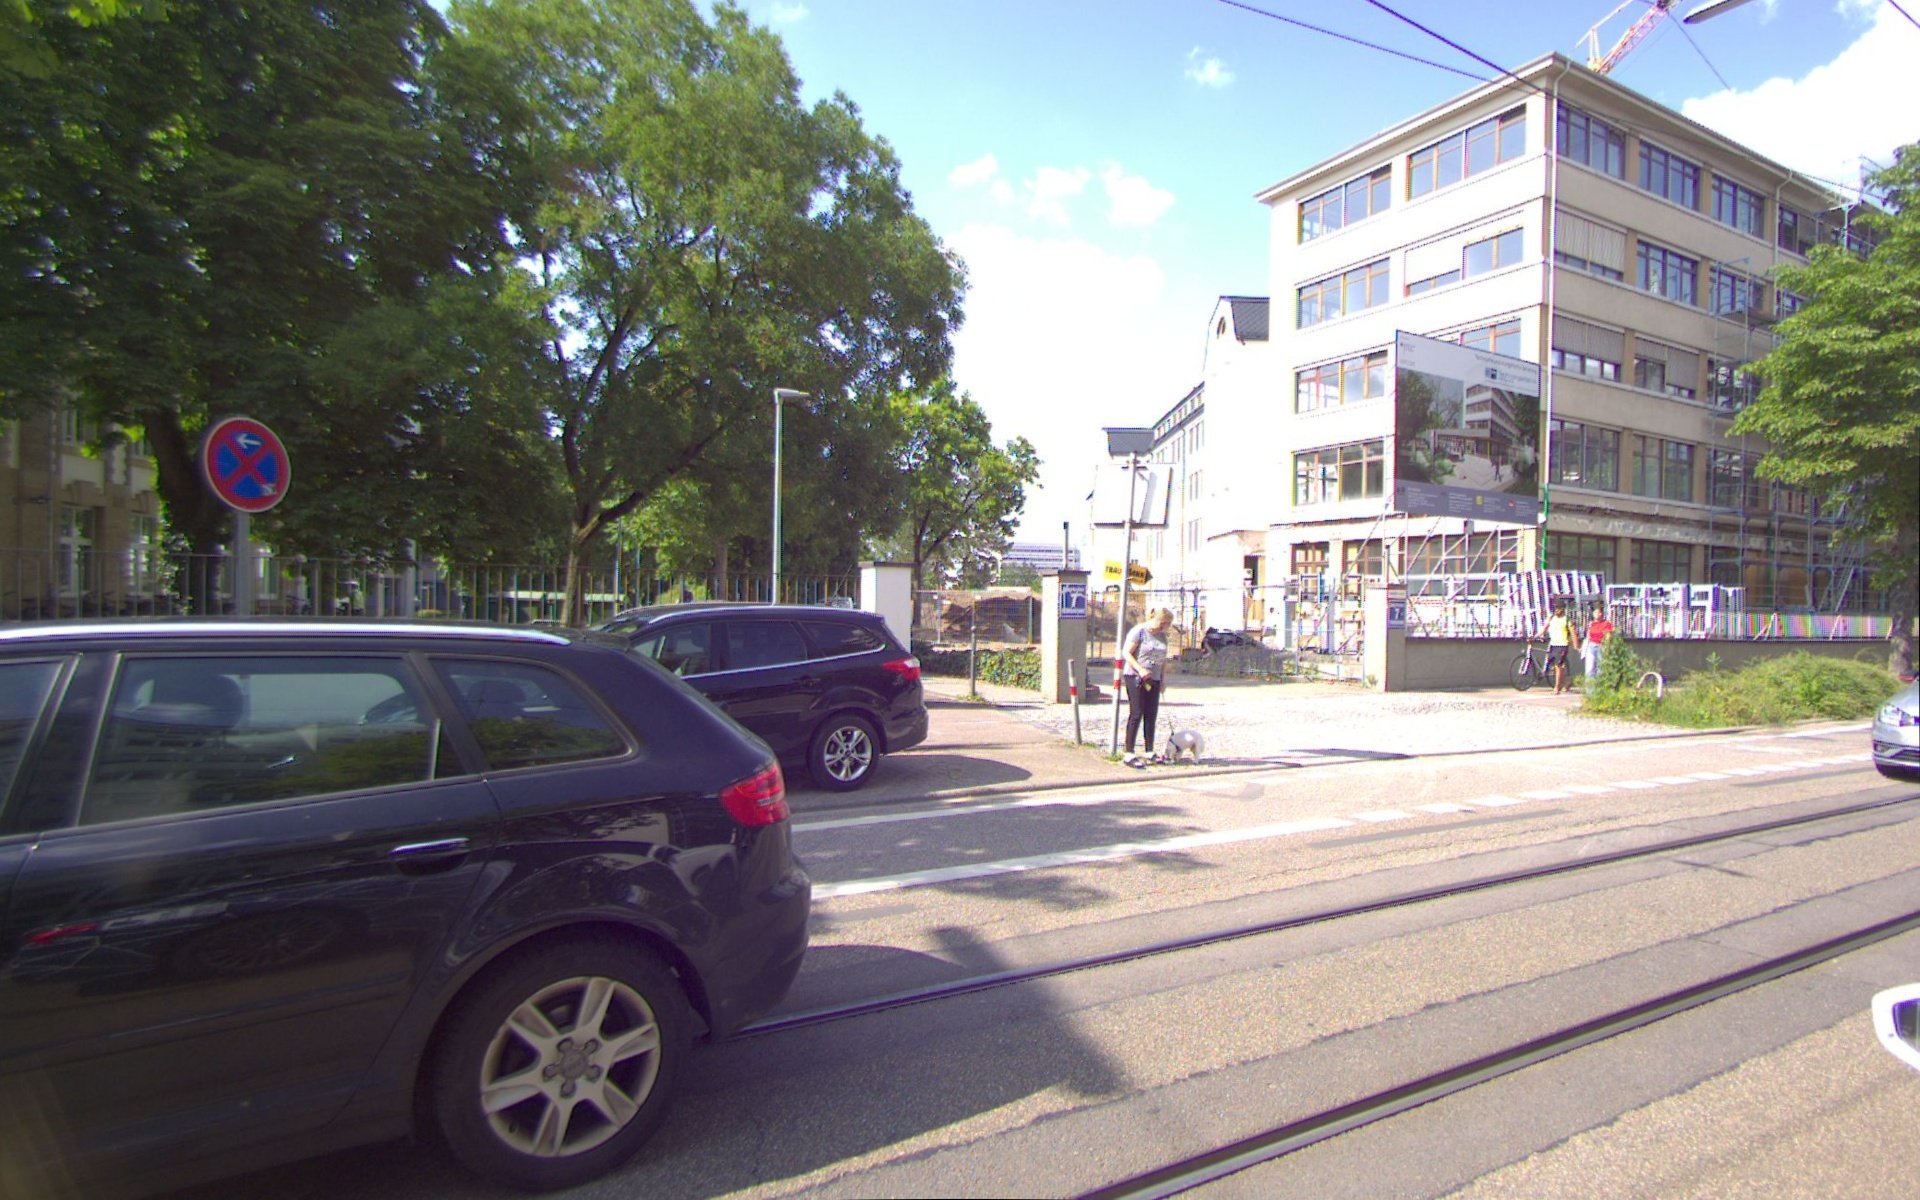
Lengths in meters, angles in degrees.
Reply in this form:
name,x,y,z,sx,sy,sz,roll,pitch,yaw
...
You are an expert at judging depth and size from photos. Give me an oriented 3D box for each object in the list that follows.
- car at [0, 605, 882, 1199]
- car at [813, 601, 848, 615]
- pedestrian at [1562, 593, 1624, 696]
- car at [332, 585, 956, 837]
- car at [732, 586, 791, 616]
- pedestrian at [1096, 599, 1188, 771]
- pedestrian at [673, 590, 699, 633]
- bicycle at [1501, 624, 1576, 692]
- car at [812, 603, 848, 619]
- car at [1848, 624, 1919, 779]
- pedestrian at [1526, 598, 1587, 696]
name,x,y,z,sx,sy,sz,roll,pitch,yaw
car,-2.353,0.732,2.653,3.954,1.394,1.714,2,-2,-31
car,-14.279,0.868,110.588,3.594,1.509,1.786,1,0,0
pedestrian,11.931,0.821,18.940,0.655,1.857,0.702,-1,4,-35
car,-2.420,0.727,8.184,4.543,1.536,1.739,1,1,-33
car,-14.031,0.095,71.255,3.925,2.040,1.998,1,0,-7
pedestrian,1.874,0.835,10.308,0.714,1.659,0.691,2,1,27
pedestrian,-10.527,0.446,38.640,0.751,1.642,0.594,1,0,9
bicycle,11.525,1.138,19.993,1.716,1.303,0.444,1,0,-28
car,-13.344,1.129,103.209,3.596,1.509,1.785,1,0,-3
car,10.735,0.980,9.996,3.807,1.435,1.765,2,-2,-31
pedestrian,11.535,0.889,19.442,0.655,1.817,0.702,1,3,-35
